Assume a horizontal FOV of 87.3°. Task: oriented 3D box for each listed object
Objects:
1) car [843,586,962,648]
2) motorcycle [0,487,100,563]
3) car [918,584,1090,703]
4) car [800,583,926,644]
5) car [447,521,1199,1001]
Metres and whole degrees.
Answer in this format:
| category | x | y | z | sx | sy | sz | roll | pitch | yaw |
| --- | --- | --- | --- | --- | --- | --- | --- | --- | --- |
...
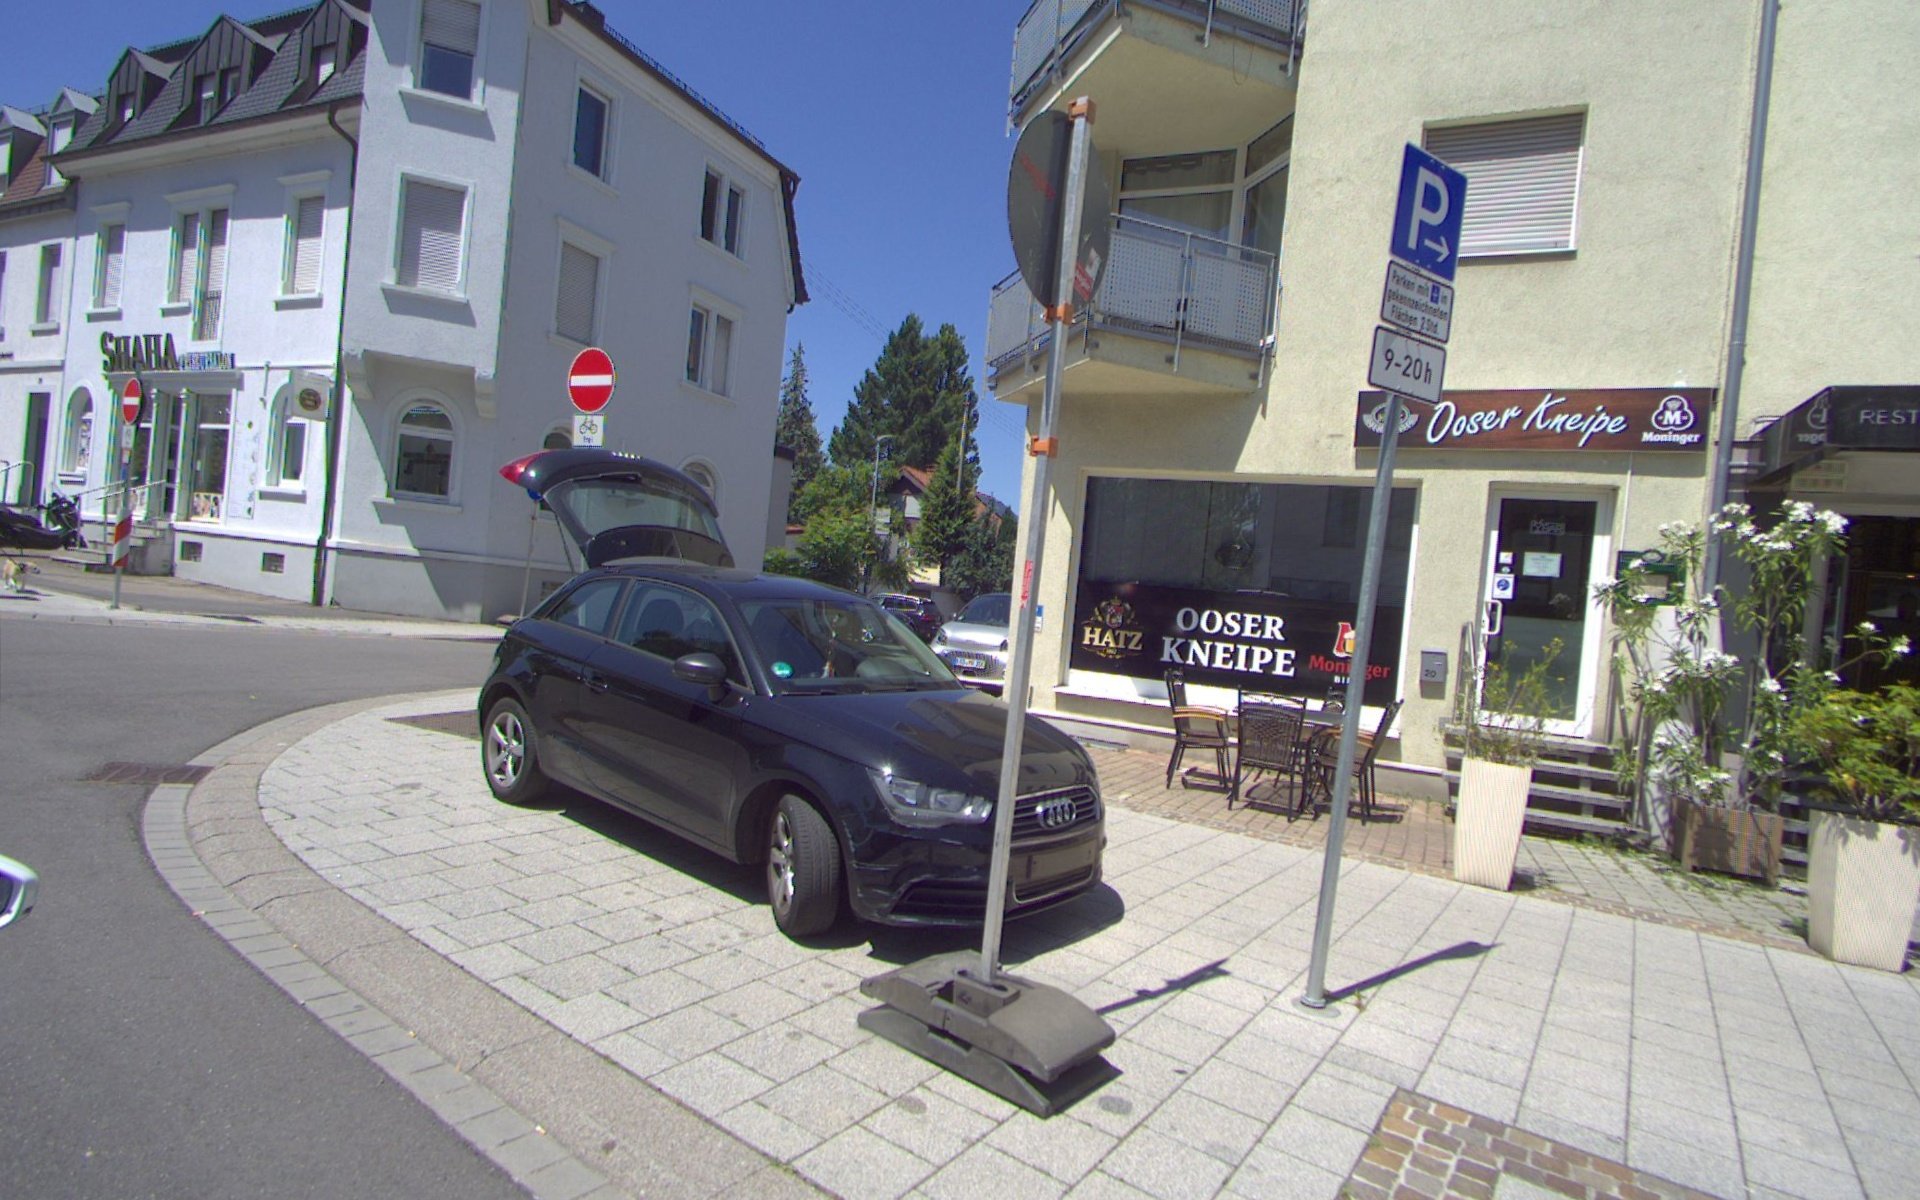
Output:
| category | x | y | z | sx | sy | sz | roll | pitch | yaw |
| --- | --- | --- | --- | --- | --- | --- | --- | --- | --- |
| car | -2.202 | 0.636 | 38.317 | 3.933 | 1.860 | 1.996 | 6 | 0 | 31 |
| motorcycle | -18.455 | -1.519 | 19.575 | 0.841 | 1.290 | 2.383 | 7 | -1 | 27 |
| car | 0.754 | 0.692 | 15.453 | 1.503 | 1.489 | 2.734 | 8 | 0 | 27 |
| car | -3.463 | 0.483 | 35.771 | 3.933 | 1.660 | 1.996 | 6 | 0 | 31 |
| car | -0.940 | 0.529 | 5.453 | 3.805 | 1.511 | 1.869 | 7 | 2 | 40 |
